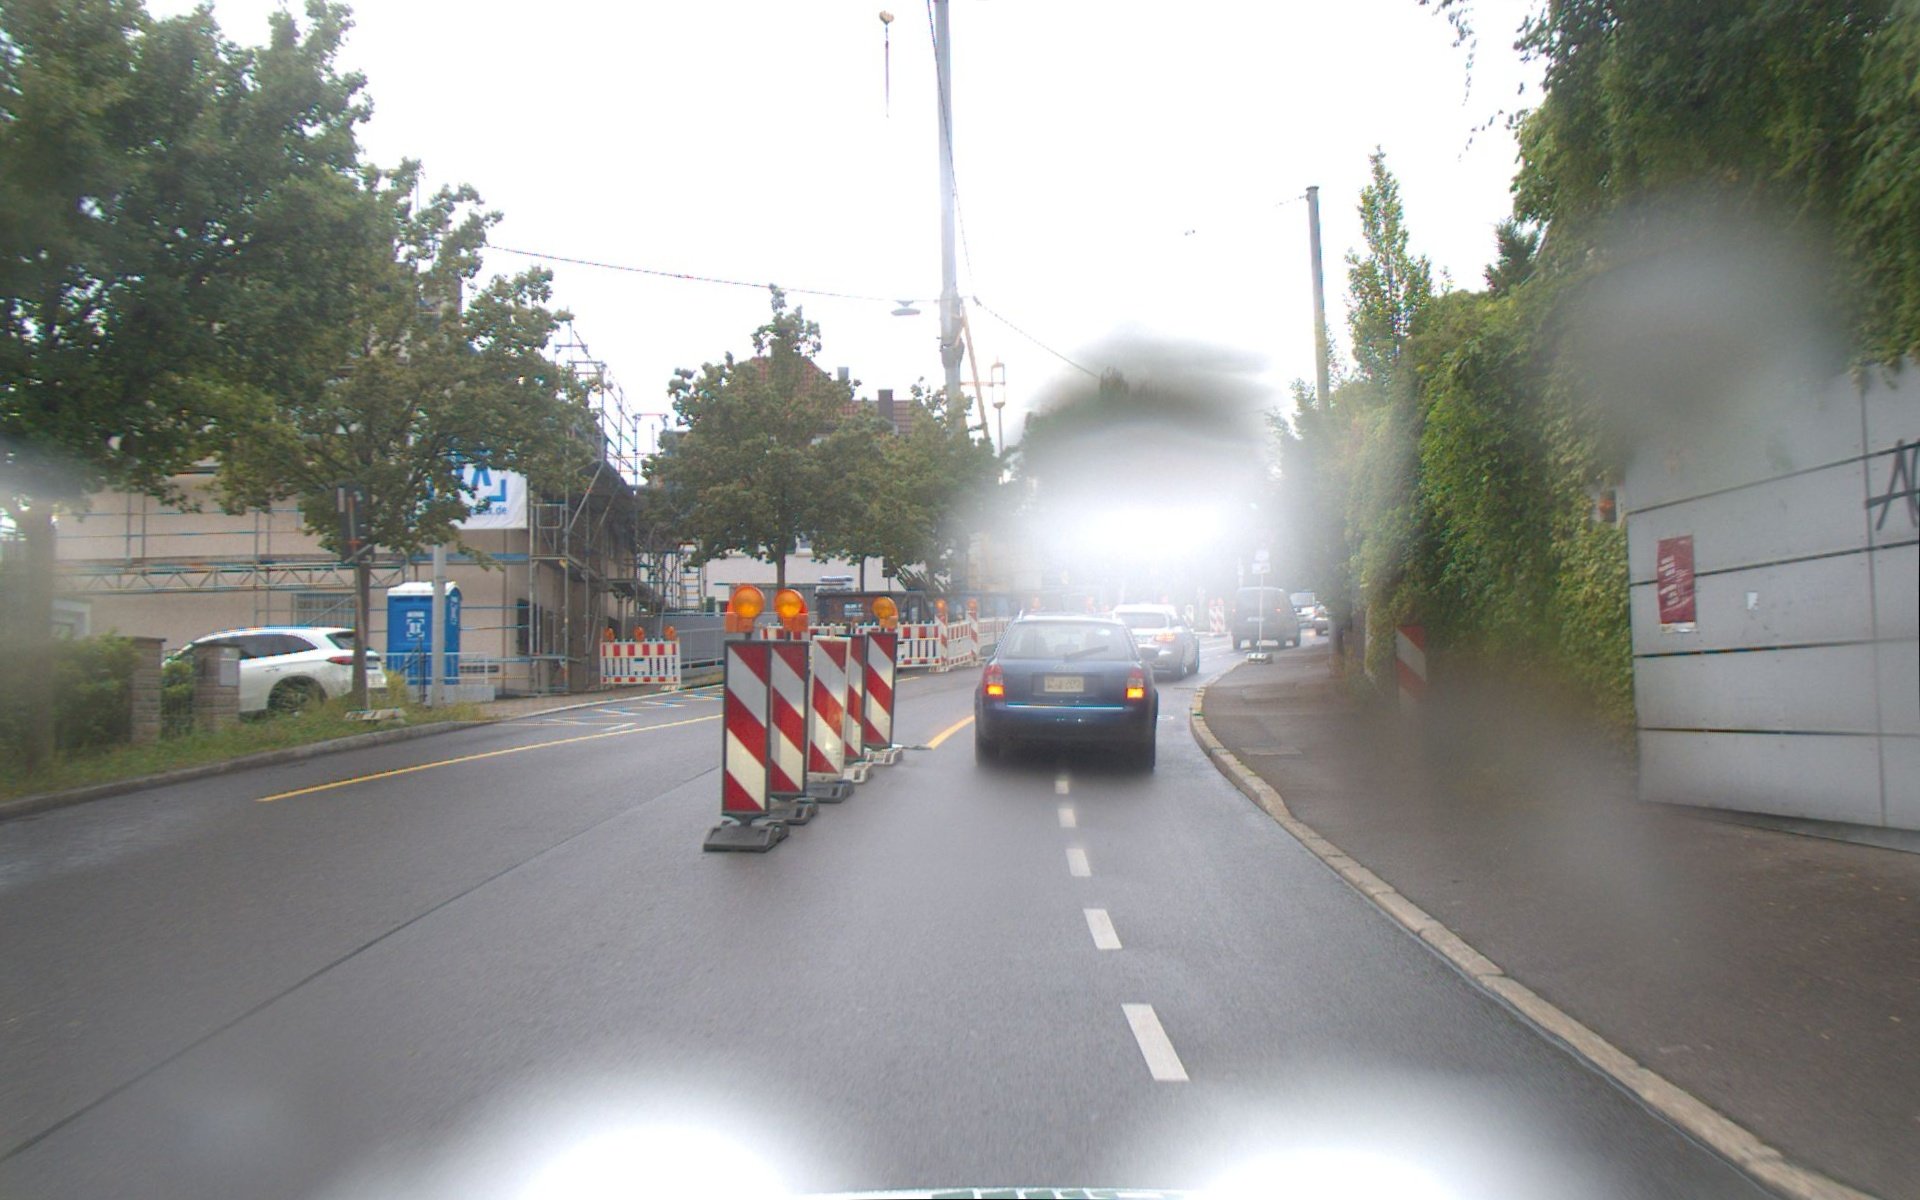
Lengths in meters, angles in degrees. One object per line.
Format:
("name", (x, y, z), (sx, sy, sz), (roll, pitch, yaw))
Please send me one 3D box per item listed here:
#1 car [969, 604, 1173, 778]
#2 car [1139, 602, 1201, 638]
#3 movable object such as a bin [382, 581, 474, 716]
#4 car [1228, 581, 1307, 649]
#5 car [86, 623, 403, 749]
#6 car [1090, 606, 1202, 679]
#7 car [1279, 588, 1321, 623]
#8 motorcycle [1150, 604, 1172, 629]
("car", (1.062, 0.829, 16.498), (1.740, 1.464, 4.001), (2, -1, 2))
("car", (11.180, 1.079, 88.371), (1.659, 1.535, 3.990), (-4, -2, -18))
("movable object such as a bin", (-10.334, 0.925, 32.163), (1.285, 2.549, 1.386), (-1, 0, 0))
("car", (9.622, 0.446, 51.574), (1.694, 1.927, 4.056), (-4, -1, 19))
("car", (-11.317, 1.346, 26.393), (4.113, 1.632, 1.949), (-4, -1, -2))
("car", (3.921, 0.839, 34.281), (1.868, 1.413, 4.354), (0, 0, 12))
("car", (15.354, 0.228, 74.605), (1.425, 1.553, 2.923), (0, 0, 20))
("motorcycle", (9.812, 0.780, 80.762), (0.578, 1.150, 1.843), (-4, -1, 21))
